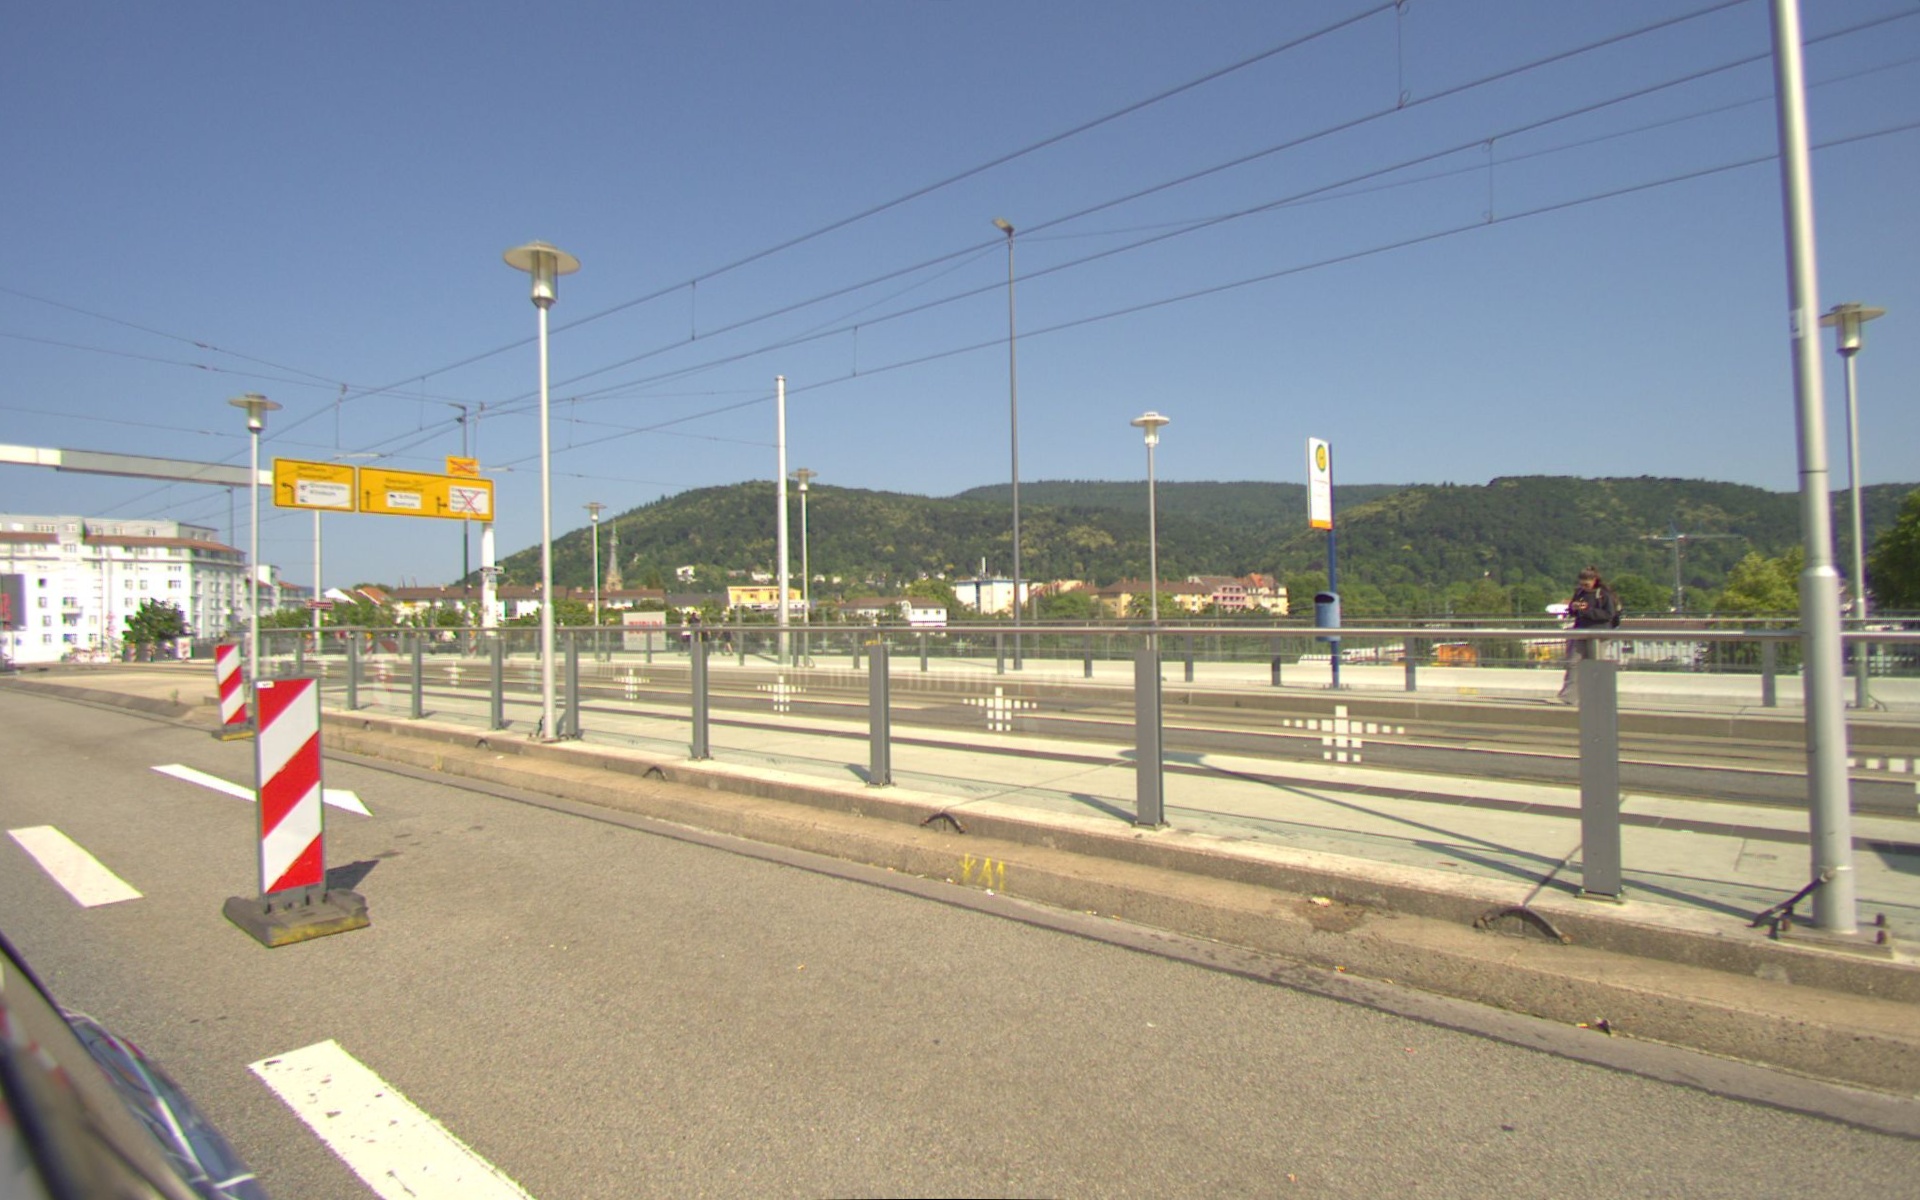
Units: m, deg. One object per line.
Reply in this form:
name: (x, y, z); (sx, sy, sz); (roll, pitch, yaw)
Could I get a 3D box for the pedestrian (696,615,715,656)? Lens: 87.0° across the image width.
pedestrian: (-10.759, 1.514, 42.716); (0.770, 1.700, 0.379); (-3, -3, 41)

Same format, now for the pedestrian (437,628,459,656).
pedestrian: (-29.382, 2.397, 58.069); (0.887, 1.556, 0.713); (-3, 0, 37)

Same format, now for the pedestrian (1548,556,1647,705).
pedestrian: (7.402, 0.350, 11.757); (0.652, 1.667, 0.741); (0, -2, -39)

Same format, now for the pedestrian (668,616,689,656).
pedestrian: (-11.964, 1.535, 42.962); (0.807, 1.700, 0.481); (-3, -3, 41)

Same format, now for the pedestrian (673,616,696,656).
pedestrian: (-11.917, 1.560, 43.722); (0.817, 1.700, 0.591); (-3, -3, 41)

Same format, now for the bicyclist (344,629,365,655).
bicyclist: (-36.824, 2.554, 61.560); (0.816, 1.530, 0.848); (-3, -2, 36)

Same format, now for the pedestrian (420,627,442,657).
pedestrian: (-30.051, 2.380, 57.485); (0.893, 1.654, 0.737); (-3, 0, 37)

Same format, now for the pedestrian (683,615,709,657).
pedestrian: (-10.934, 1.490, 41.948); (0.731, 1.700, 0.745); (-3, -3, 41)

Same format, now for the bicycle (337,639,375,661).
bicycle: (-36.692, 3.053, 61.453); (3.066, 1.204, 0.848); (-3, -1, 37)

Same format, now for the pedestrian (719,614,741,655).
pedestrian: (-9.573, 1.445, 42.132); (0.772, 1.700, 0.498); (-3, -3, 41)
